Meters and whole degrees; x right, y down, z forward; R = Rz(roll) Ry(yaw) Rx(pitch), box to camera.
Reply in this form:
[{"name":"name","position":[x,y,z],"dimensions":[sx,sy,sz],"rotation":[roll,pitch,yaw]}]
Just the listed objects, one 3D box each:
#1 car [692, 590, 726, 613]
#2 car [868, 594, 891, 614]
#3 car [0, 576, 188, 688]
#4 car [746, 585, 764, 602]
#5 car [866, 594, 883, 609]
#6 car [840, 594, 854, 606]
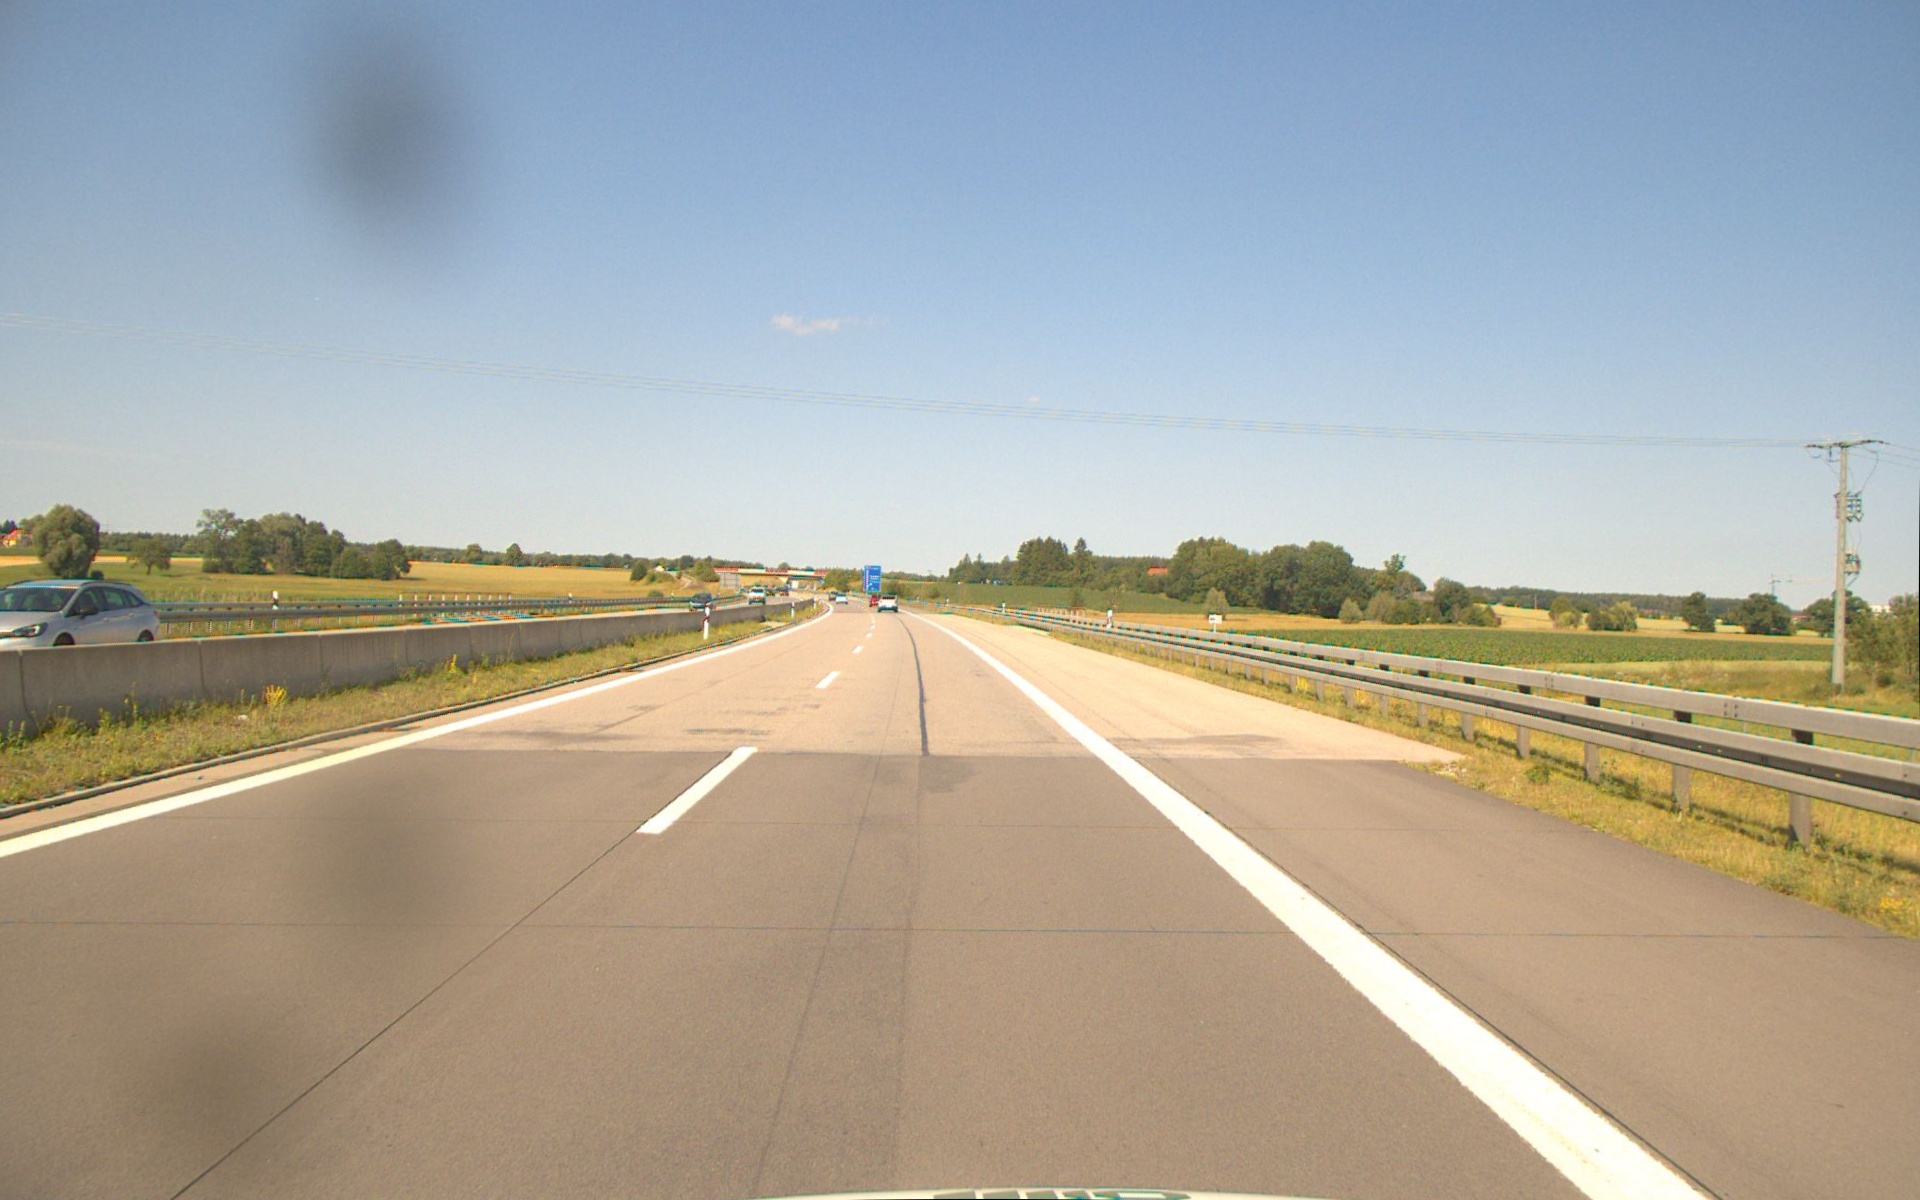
[{"name":"car","position":[-17.933,0.091,118.231],"dimensions":[1.822,1.540,4.584],"rotation":[3,0,-2]},{"name":"car","position":[-7.568,0.385,155.297],"dimensions":[1.955,1.761,4.864],"rotation":[2,0,-5]},{"name":"car","position":[-14.565,0.462,26.665],"dimensions":[1.953,1.606,4.895],"rotation":[3,0,-1]},{"name":"car","position":[-24.295,-0.752,196.032],"dimensions":[1.956,2.049,5.603],"rotation":[1,0,-8]},{"name":"car","position":[-10.642,0.146,206.137],"dimensions":[1.955,1.761,4.864],"rotation":[2,0,-5]},{"name":"car","position":[-16.607,0.012,242.128],"dimensions":[1.954,1.761,4.865],"rotation":[2,0,-4]}]
